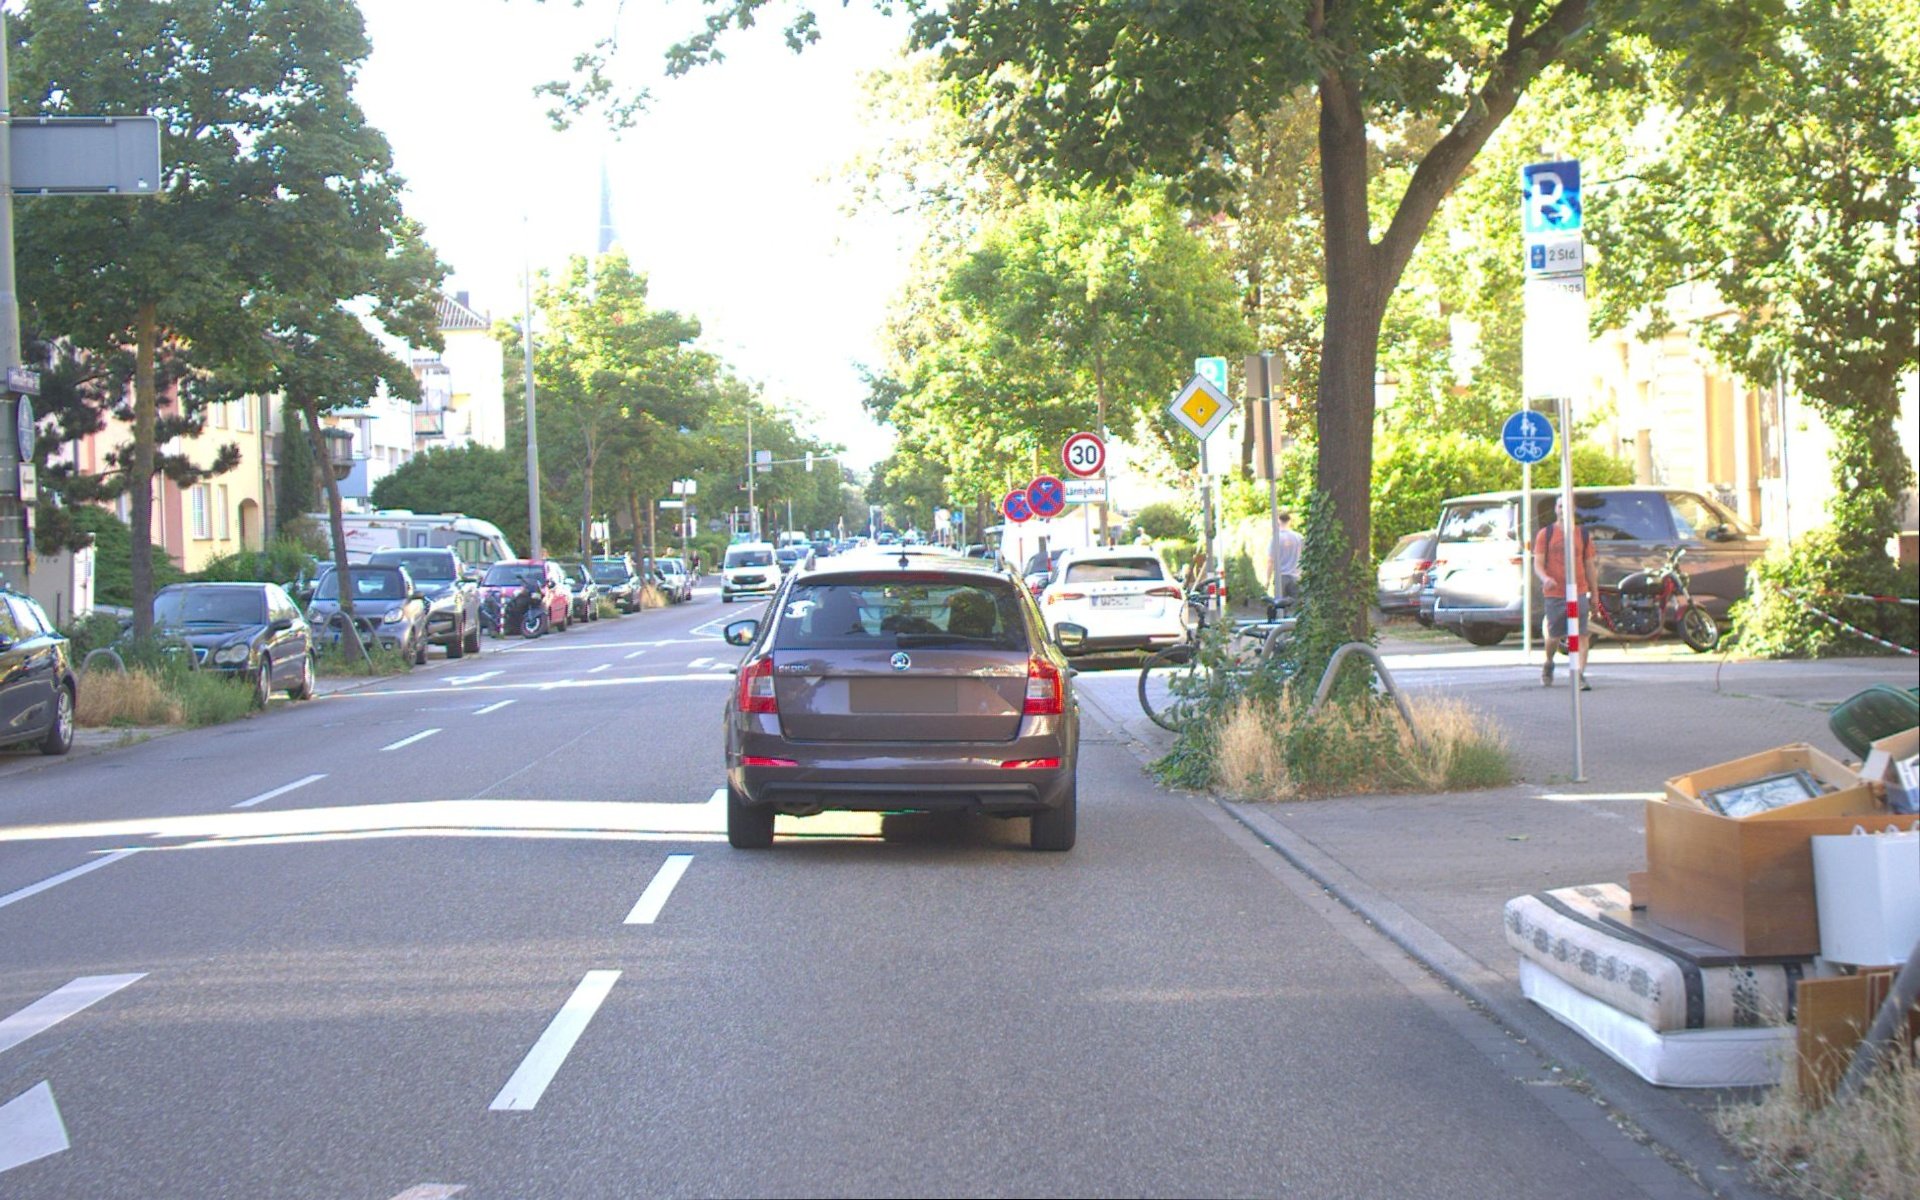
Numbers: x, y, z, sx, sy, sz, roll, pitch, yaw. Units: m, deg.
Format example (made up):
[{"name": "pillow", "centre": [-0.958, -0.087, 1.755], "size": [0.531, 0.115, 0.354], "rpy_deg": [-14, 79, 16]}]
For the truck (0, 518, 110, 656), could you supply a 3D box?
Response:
[{"name": "truck", "centre": [-14.957, -0.204, 53.716], "size": [2.913, 2.086, 1.546], "rpy_deg": [-2, 1, -1]}]

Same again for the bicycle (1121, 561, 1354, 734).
[{"name": "bicycle", "centre": [2.167, 0.369, 26.768], "size": [1.671, 1.222, 0.635], "rpy_deg": [-4, 1, 12]}]

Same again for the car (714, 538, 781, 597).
[{"name": "car", "centre": [-6.704, -1.047, 108.777], "size": [1.876, 1.751, 4.179], "rpy_deg": [-2, 1, -1]}]

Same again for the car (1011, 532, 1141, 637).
[{"name": "car", "centre": [1.685, -0.258, 51.005], "size": [1.821, 1.408, 4.111], "rpy_deg": [-2, 2, 1]}]

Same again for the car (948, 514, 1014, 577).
[{"name": "car", "centre": [0.599, -1.636, 102.189], "size": [1.729, 1.809, 3.951], "rpy_deg": [-2, 1, -2]}]

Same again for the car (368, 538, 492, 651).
[{"name": "car", "centre": [-8.760, -0.125, 57.003], "size": [1.507, 1.751, 3.694], "rpy_deg": [-2, 1, -1]}]

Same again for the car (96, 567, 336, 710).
[{"name": "car", "centre": [-8.401, 0.389, 39.160], "size": [1.754, 1.415, 4.426], "rpy_deg": [-2, 2, 0]}]

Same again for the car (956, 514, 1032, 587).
[{"name": "car", "centre": [0.875, -1.309, 89.702], "size": [1.729, 1.809, 3.951], "rpy_deg": [-2, 1, -2]}]

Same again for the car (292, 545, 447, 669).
[{"name": "car", "centre": [-8.917, 0.078, 52.165], "size": [1.750, 1.734, 3.591], "rpy_deg": [-2, 1, -1]}]

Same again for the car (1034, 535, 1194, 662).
[{"name": "car", "centre": [1.861, -0.054, 42.522], "size": [1.821, 1.408, 4.111], "rpy_deg": [-2, 2, 1]}]

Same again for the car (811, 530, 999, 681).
[{"name": "car", "centre": [-0.646, 0.015, 37.178], "size": [1.729, 1.488, 3.951], "rpy_deg": [-2, 2, -5]}]

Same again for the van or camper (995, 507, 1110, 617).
[{"name": "van or camper", "centre": [1.758, -0.762, 66.416], "size": [1.993, 2.006, 4.000], "rpy_deg": [-2, 1, -1]}]

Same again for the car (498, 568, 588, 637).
[{"name": "car", "centre": [-9.434, 0.035, 77.993], "size": [1.664, 1.427, 3.275], "rpy_deg": [-2, 1, -1]}]

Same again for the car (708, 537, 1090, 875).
[{"name": "car", "centre": [-0.289, 0.455, 17.899], "size": [1.729, 1.488, 3.951], "rpy_deg": [-2, 2, 0]}]

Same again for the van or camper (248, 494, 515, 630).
[{"name": "van or camper", "centre": [-17.364, -1.160, 103.436], "size": [7.639, 3.861, 2.000], "rpy_deg": [-2, 1, -3]}]

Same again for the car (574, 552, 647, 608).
[{"name": "car", "centre": [-9.539, -0.566, 93.988], "size": [1.664, 1.427, 3.275], "rpy_deg": [-2, 1, -1]}]

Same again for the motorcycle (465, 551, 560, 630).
[{"name": "motorcycle", "centre": [-8.772, -0.180, 67.351], "size": [0.764, 1.506, 2.029], "rpy_deg": [-3, 2, -43]}]

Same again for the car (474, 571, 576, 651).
[{"name": "car", "centre": [-9.118, 0.210, 72.309], "size": [1.664, 1.506, 4.179], "rpy_deg": [-2, 2, -1]}]

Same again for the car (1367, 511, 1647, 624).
[{"name": "car", "centre": [8.062, -0.495, 50.653], "size": [3.799, 1.520, 1.512], "rpy_deg": [-2, 1, -22]}]

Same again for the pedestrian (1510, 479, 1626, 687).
[{"name": "pedestrian", "centre": [5.352, -0.157, 30.299], "size": [0.755, 1.790, 0.906], "rpy_deg": [-2, 1, -6]}]

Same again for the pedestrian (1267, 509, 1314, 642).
[{"name": "pedestrian", "centre": [4.495, -0.340, 46.798], "size": [0.535, 1.788, 0.687], "rpy_deg": [-2, 1, 1]}]

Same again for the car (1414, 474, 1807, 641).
[{"name": "car", "centre": [8.051, -0.547, 42.477], "size": [4.533, 1.886, 1.915], "rpy_deg": [-2, 1, -28]}]

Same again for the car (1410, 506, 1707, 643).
[{"name": "car", "centre": [8.004, -0.362, 45.915], "size": [3.800, 1.673, 1.512], "rpy_deg": [-2, 2, -30]}]

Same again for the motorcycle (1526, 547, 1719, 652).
[{"name": "motorcycle", "centre": [7.501, -0.013, 38.949], "size": [2.051, 1.121, 0.525], "rpy_deg": [-2, 1, -6]}]

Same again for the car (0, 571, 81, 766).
[{"name": "car", "centre": [-8.488, 0.576, 27.744], "size": [1.717, 1.492, 4.248], "rpy_deg": [-2, 2, -1]}]

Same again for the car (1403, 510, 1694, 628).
[{"name": "car", "centre": [8.308, -0.445, 48.532], "size": [3.799, 1.520, 1.512], "rpy_deg": [-2, 1, -22]}]
